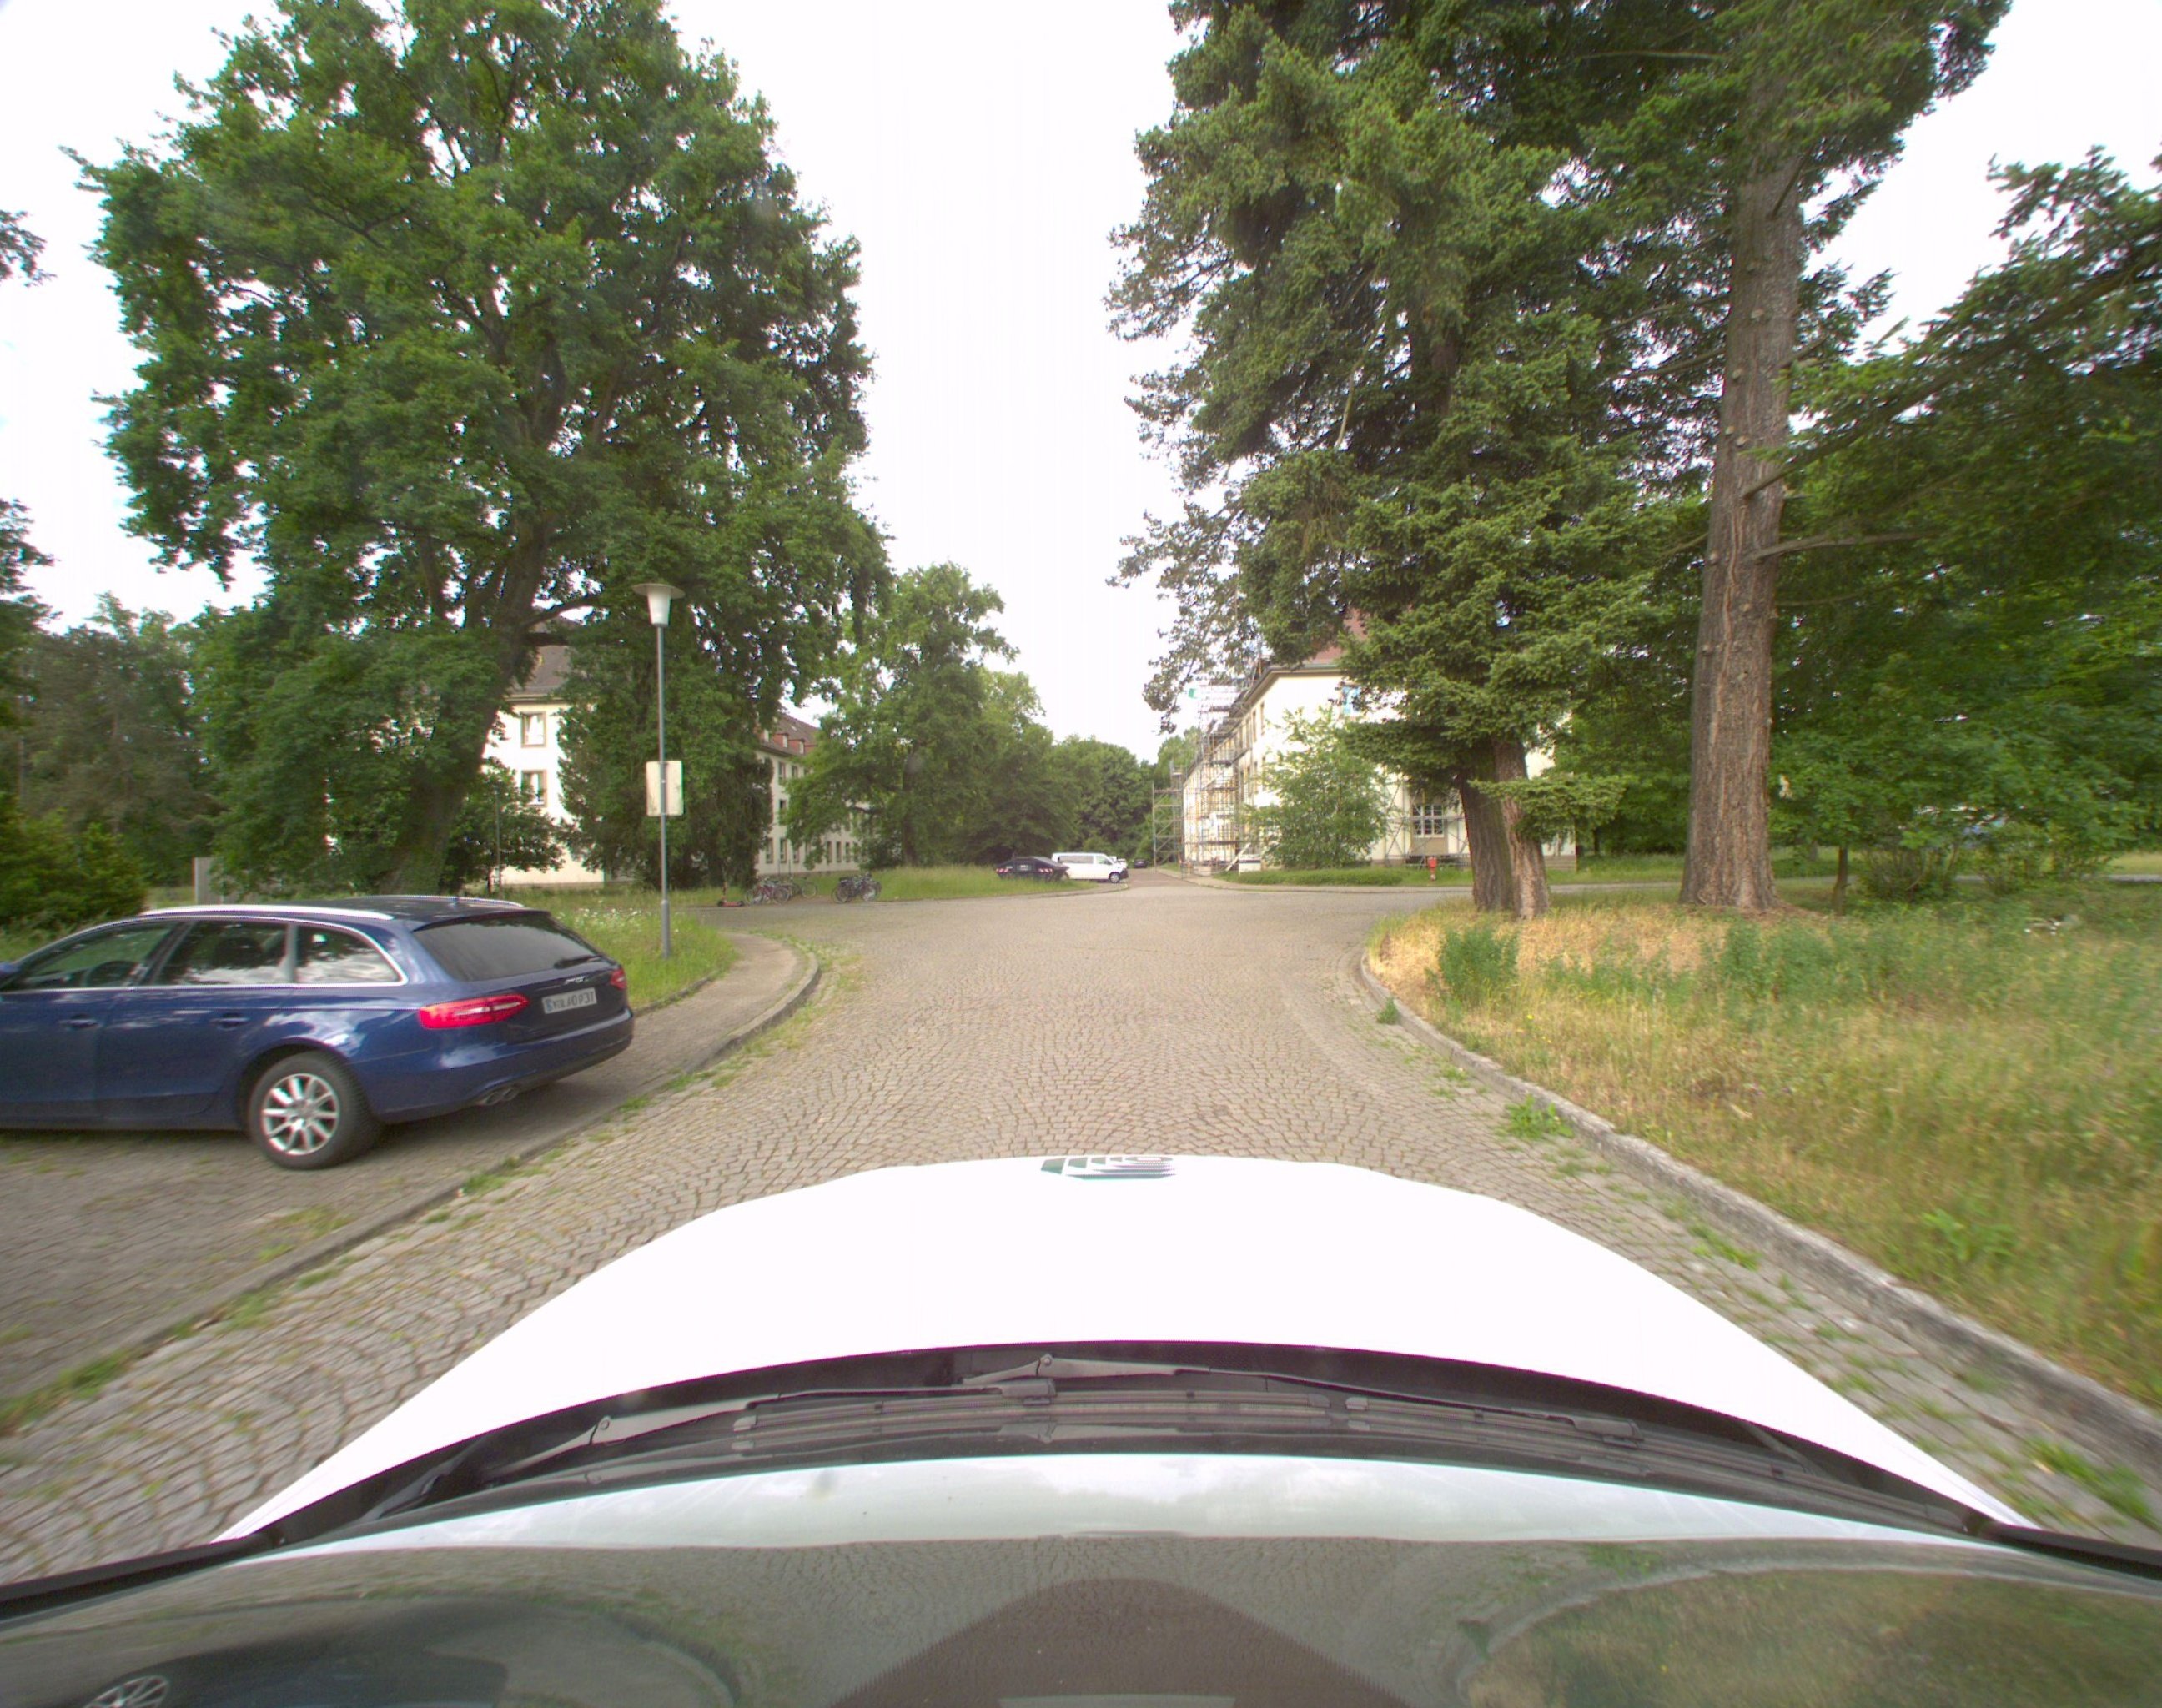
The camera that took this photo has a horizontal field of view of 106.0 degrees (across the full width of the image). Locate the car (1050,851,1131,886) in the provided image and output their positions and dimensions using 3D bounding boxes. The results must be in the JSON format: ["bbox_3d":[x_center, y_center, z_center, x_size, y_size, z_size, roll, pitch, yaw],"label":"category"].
[{"bbox_3d":[0.630,0.940,54.145,5.218,2.168,2.000,-1,-1,0],"label":"car"}]

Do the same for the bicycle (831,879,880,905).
[{"bbox_3d":[-9.432,1.591,34.073,1.963,0.989,0.623,-1,-1,-19],"label":"bicycle"}]

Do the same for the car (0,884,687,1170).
[{"bbox_3d":[-5.275,0.978,5.457,4.284,1.461,1.977,0,0,3],"label":"car"}]

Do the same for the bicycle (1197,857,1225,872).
[{"bbox_3d":[10.962,0.899,68.704,2.230,1.254,0.778,-2,-1,4],"label":"bicycle"}]

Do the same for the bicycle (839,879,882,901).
[{"bbox_3d":[-10.733,1.732,39.651,1.964,0.989,0.622,-1,-1,-21],"label":"bicycle"}]

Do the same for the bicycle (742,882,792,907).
[{"bbox_3d":[-13.461,1.739,34.958,1.964,0.989,0.622,-1,-1,-21],"label":"bicycle"}]

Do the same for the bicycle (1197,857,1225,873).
[{"bbox_3d":[10.668,0.875,66.800,2.230,1.254,0.778,-2,-1,4],"label":"bicycle"}]

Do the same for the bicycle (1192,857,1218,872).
[{"bbox_3d":[10.801,0.947,71.056,2.230,1.254,0.778,-2,-1,4],"label":"bicycle"}]

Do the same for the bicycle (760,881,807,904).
[{"bbox_3d":[-13.890,1.808,38.031,1.956,0.989,0.625,-2,-1,-9],"label":"bicycle"}]

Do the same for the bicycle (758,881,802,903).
[{"bbox_3d":[-14.961,1.885,40.502,1.961,0.989,0.624,-1,-1,-15],"label":"bicycle"}]

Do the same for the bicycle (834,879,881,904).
[{"bbox_3d":[-9.791,1.631,35.681,1.964,0.989,0.622,-1,-1,-21],"label":"bicycle"}]

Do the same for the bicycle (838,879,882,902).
[{"bbox_3d":[-10.443,1.702,38.515,1.964,0.989,0.622,-1,-1,-21],"label":"bicycle"}]

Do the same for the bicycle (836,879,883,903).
[{"bbox_3d":[-9.862,1.644,36.310,1.964,0.989,0.622,-1,-1,-21],"label":"bicycle"}]

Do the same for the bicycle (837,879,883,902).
[{"bbox_3d":[-10.291,1.687,37.927,1.964,0.989,0.622,-1,-1,-21],"label":"bicycle"}]

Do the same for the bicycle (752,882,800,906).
[{"bbox_3d":[-13.718,1.778,36.676,1.967,0.989,0.622,-1,-1,-25],"label":"bicycle"}]

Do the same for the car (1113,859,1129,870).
[{"bbox_3d":[5.863,1.582,120.039,2.111,1.522,4.001,-1,-1,1],"label":"car"}]

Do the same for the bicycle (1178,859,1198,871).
[{"bbox_3d":[12.065,1.274,91.743,2.230,1.254,0.699,-2,-1,4],"label":"bicycle"}]

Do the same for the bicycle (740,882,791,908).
[{"bbox_3d":[-13.353,1.726,34.464,1.967,0.989,0.622,-1,-1,-25],"label":"bicycle"}]

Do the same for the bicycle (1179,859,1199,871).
[{"bbox_3d":[11.997,1.255,90.526,2.230,1.254,0.627,-2,-1,4],"label":"bicycle"}]

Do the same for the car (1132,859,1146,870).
[{"bbox_3d":[8.541,1.497,120.251,1.944,1.522,4.000,-1,-1,1],"label":"car"}]

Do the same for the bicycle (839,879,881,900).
[{"bbox_3d":[-10.905,1.748,40.226,1.964,0.989,0.622,-1,-1,-21],"label":"bicycle"}]

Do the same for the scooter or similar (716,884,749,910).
[{"bbox_3d":[-14.395,1.787,33.651,1.337,1.038,0.456,-2,-1,23],"label":"scooter or similar"}]

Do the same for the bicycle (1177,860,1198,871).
[{"bbox_3d":[12.108,1.288,92.587,2.230,1.254,0.635,-2,-1,4],"label":"bicycle"}]

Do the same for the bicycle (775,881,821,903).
[{"bbox_3d":[-13.564,1.814,39.029,1.956,0.989,0.625,-2,-1,-9],"label":"bicycle"}]

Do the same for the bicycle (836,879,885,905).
[{"bbox_3d":[-9.379,1.600,34.696,1.964,0.989,0.622,-1,-1,-21],"label":"bicycle"}]

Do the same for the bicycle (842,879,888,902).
[{"bbox_3d":[-9.877,1.660,37.187,1.964,0.989,0.622,-1,-1,-21],"label":"bicycle"}]

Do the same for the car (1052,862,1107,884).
[{"bbox_3d":[-0.106,1.296,56.759,3.777,1.395,1.999,-1,-1,-1],"label":"car"}]
